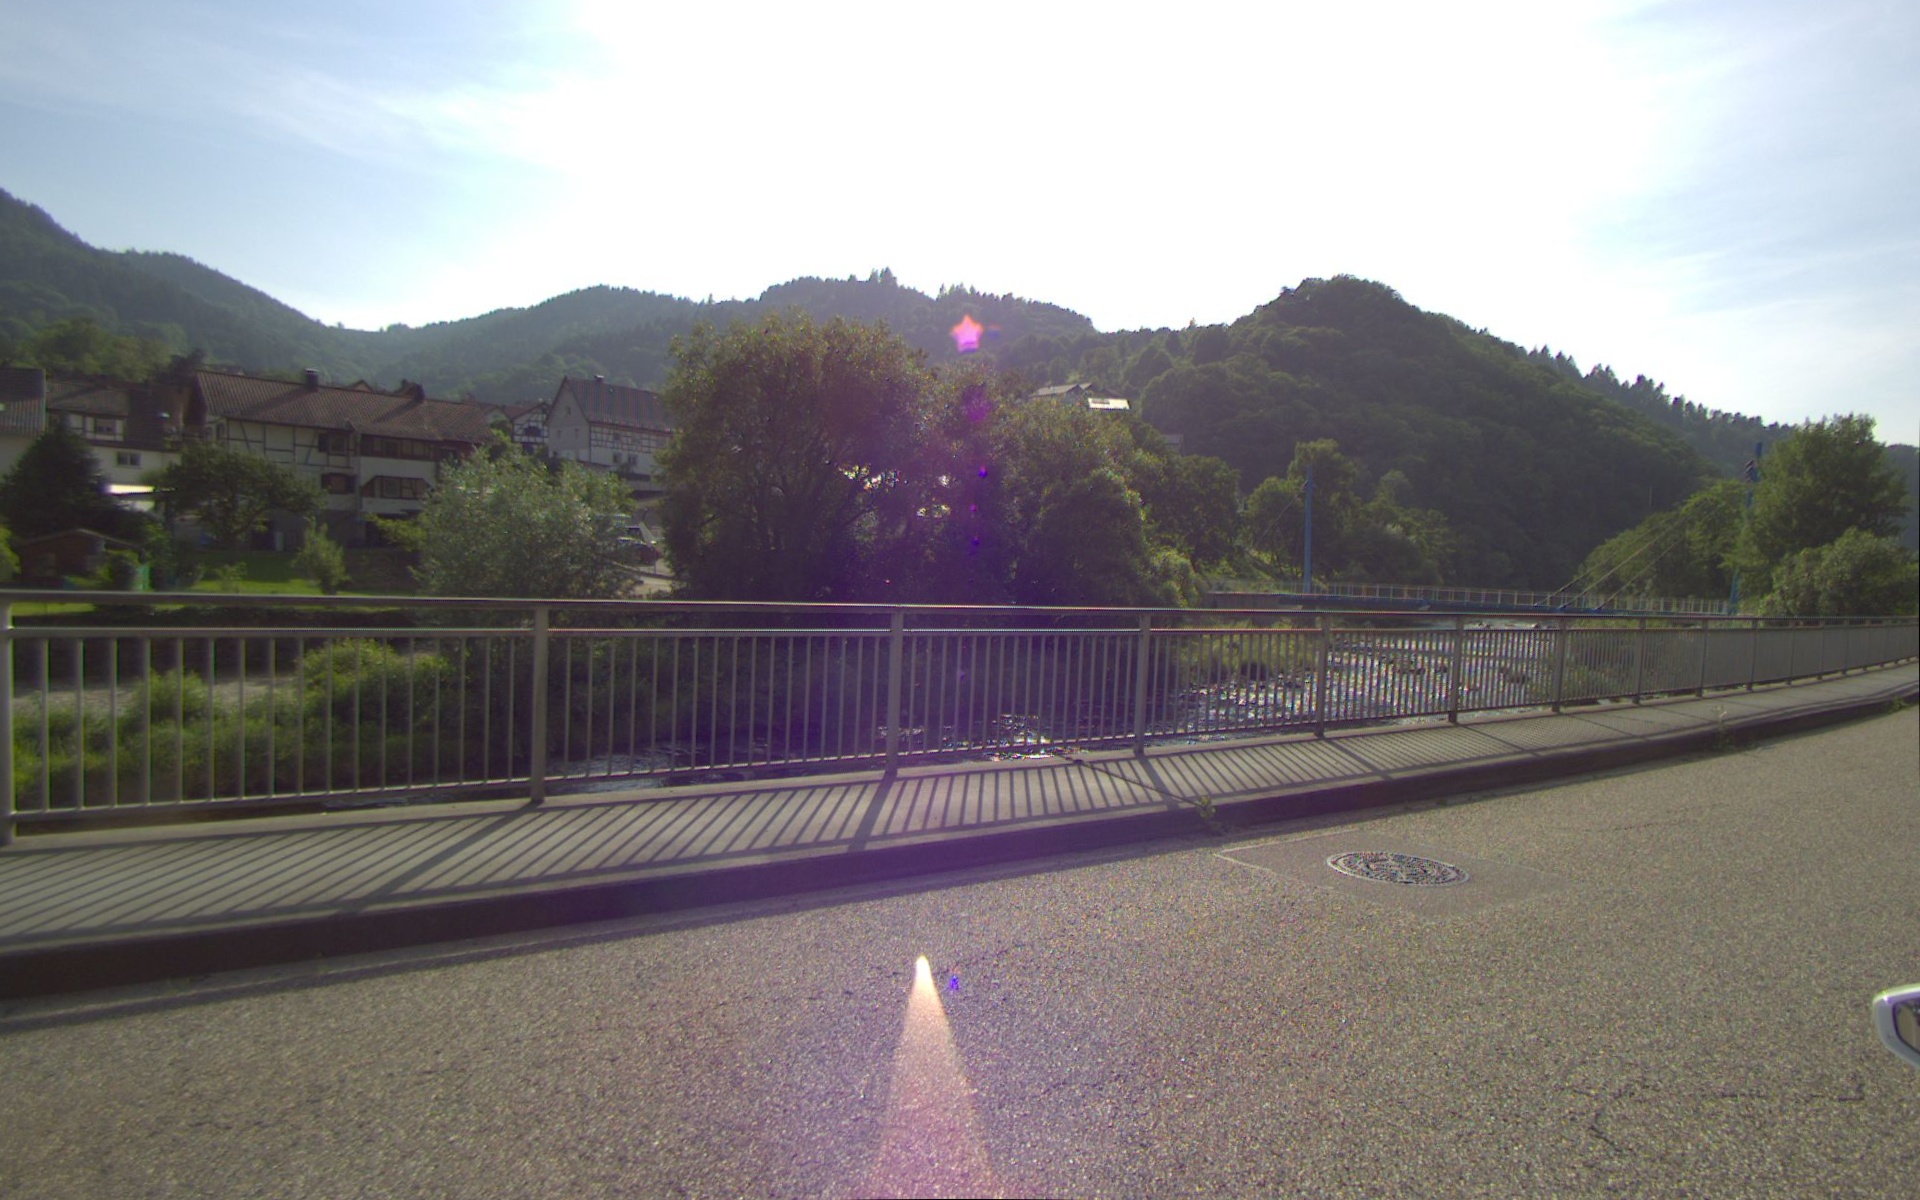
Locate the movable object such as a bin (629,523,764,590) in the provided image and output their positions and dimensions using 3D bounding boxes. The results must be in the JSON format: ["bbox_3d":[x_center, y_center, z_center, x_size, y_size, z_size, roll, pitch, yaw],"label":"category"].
[{"bbox_3d":[-18.349,-2.993,70.151,8.003,3.257,3.552,10,2,6],"label":"movable object such as a bin"}]
